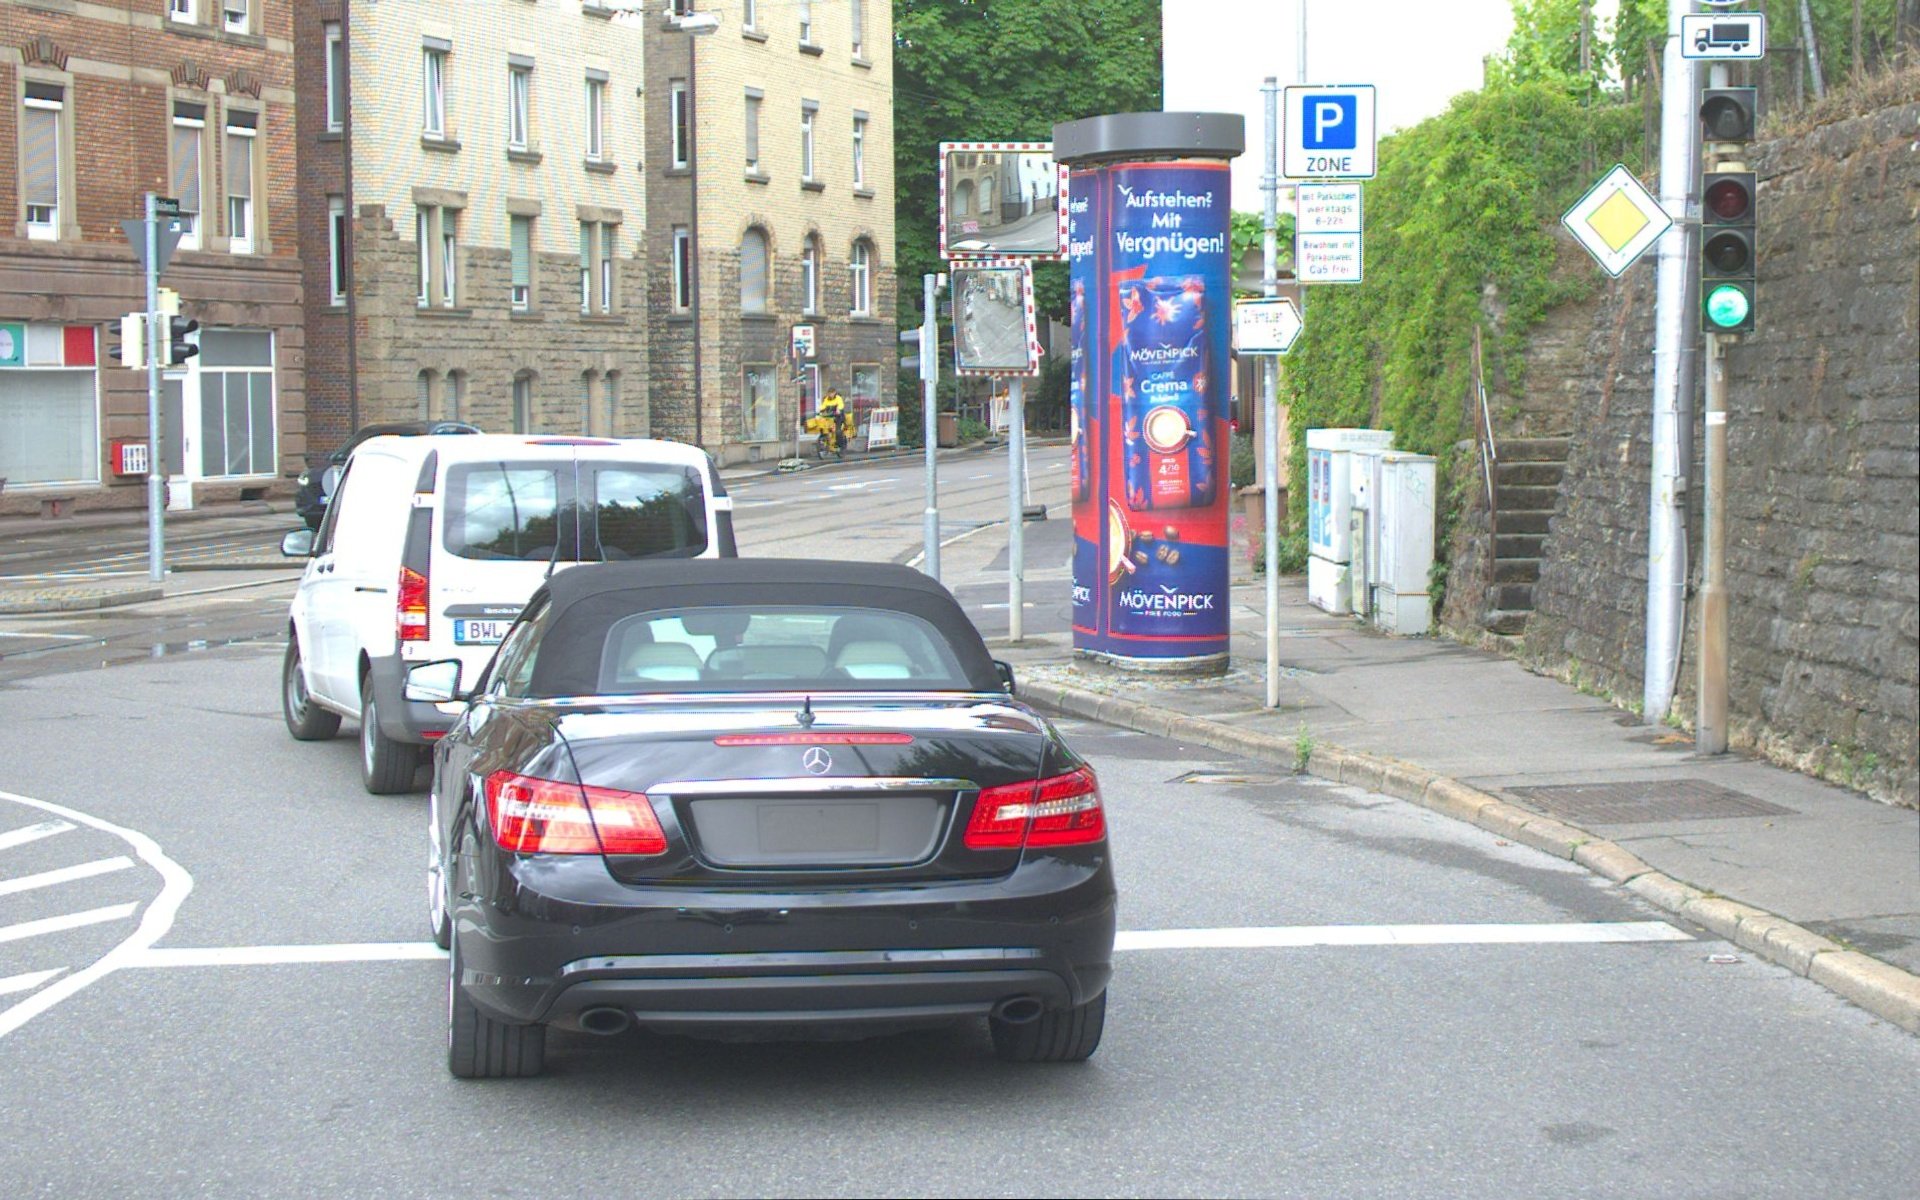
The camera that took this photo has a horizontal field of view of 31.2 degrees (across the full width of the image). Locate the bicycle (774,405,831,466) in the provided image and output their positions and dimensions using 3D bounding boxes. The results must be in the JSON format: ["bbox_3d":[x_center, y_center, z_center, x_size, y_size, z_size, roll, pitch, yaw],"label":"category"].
[{"bbox_3d":[-3.567,-3.745,78.115,0.632,1.302,2.598,-4,3,11],"label":"bicycle"}]

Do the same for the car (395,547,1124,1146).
[{"bbox_3d":[-0.809,0.557,10.561,1.761,1.404,4.400,-1,1,-9],"label":"car"}]

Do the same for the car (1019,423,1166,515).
[{"bbox_3d":[2.767,-2.719,70.934,1.951,1.712,3.997,-2,3,18],"label":"car"}]

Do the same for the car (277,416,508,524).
[{"bbox_3d":[-9.000,-2.100,54.880,1.995,1.509,4.284,-1,4,15],"label":"car"}]

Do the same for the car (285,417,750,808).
[{"bbox_3d":[-2.638,0.013,19.471,1.891,1.922,4.647,-1,1,-16],"label":"car"}]

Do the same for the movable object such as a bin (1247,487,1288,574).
[{"bbox_3d":[3.267,-0.742,36.564,0.343,0.908,0.495,-1,1,-6],"label":"movable object such as a bin"}]
